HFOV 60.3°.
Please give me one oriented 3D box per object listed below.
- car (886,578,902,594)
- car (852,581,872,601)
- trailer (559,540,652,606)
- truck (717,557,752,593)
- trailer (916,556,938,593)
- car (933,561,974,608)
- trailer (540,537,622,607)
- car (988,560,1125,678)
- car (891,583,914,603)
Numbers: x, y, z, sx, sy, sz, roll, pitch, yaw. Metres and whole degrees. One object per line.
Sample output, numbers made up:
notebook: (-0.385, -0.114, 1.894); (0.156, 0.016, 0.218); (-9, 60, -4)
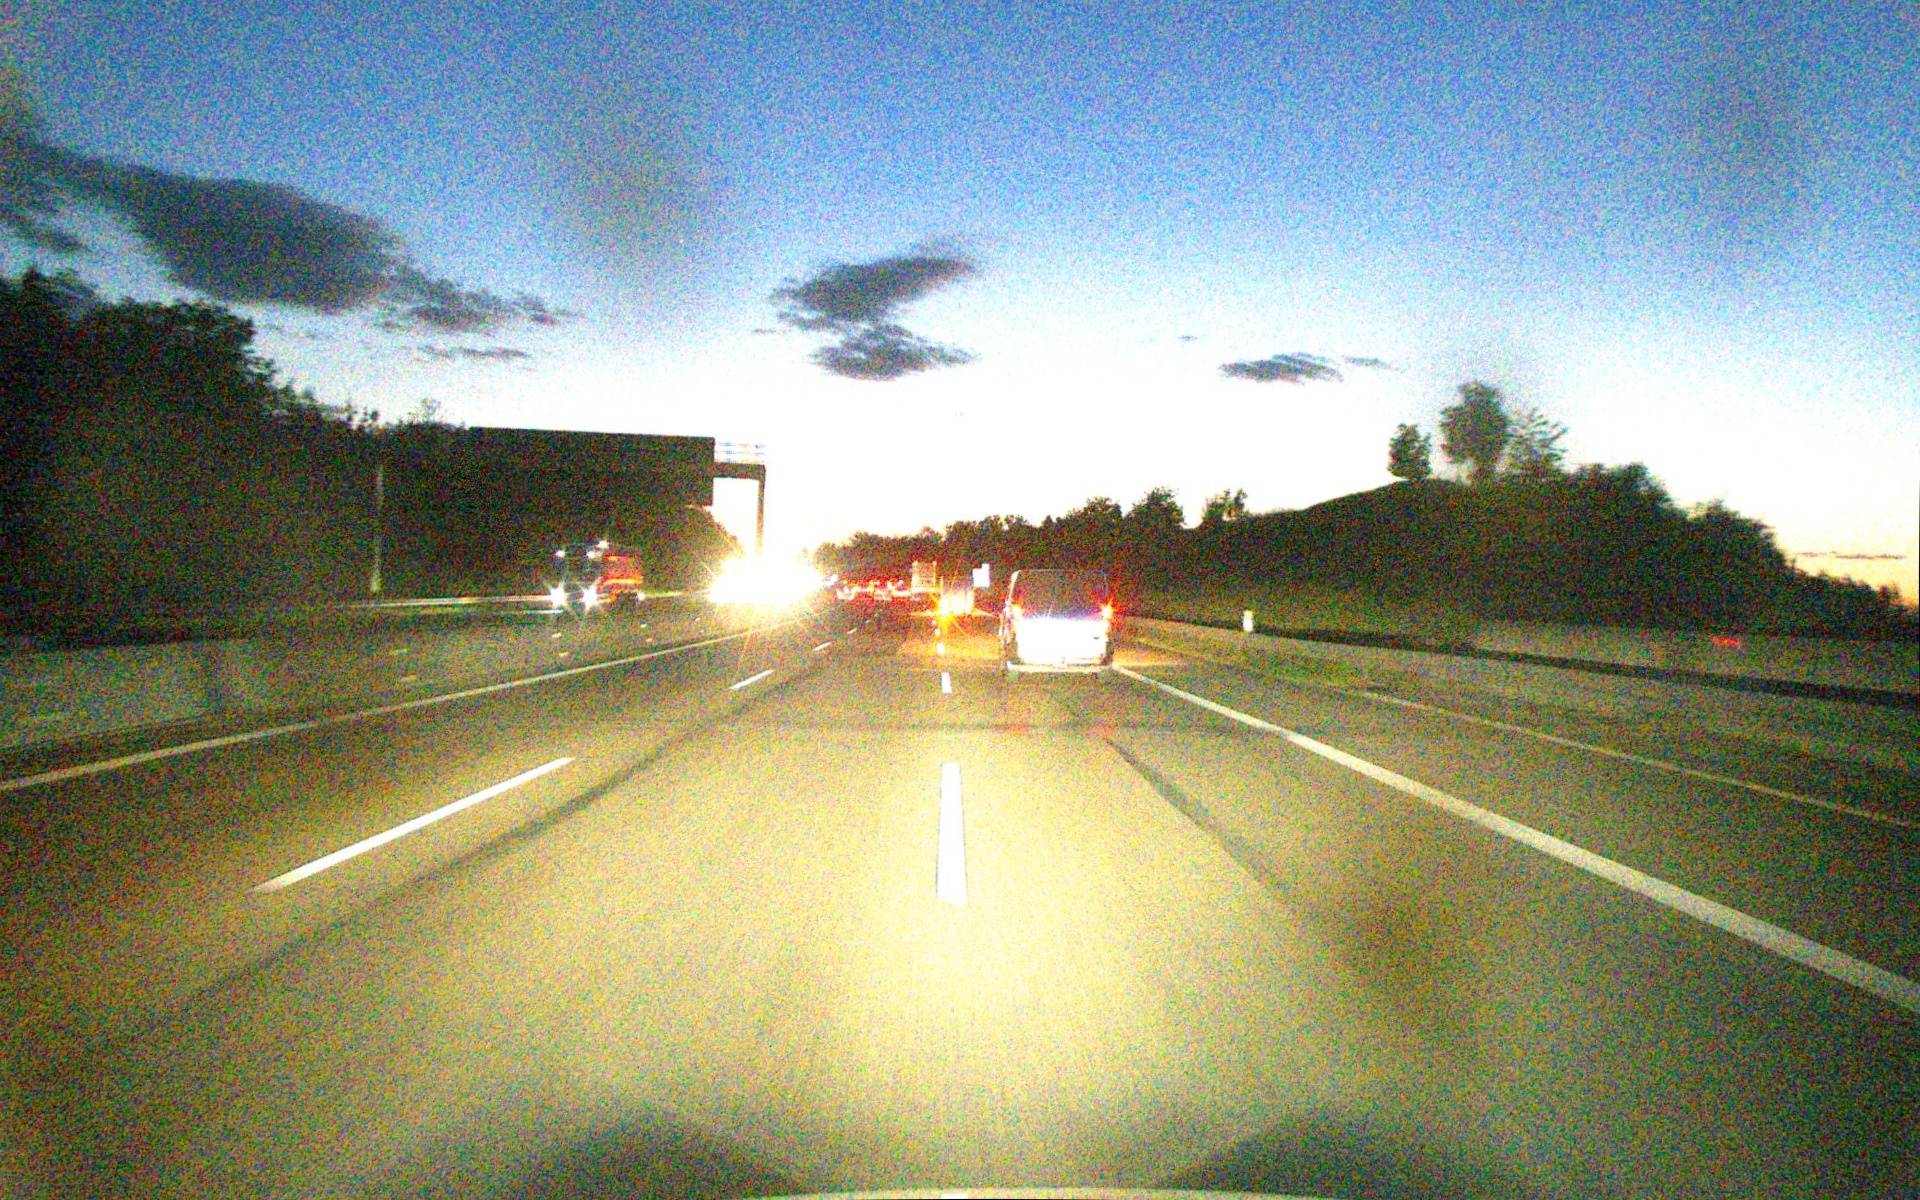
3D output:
car: (-8.192, -1.770, 206.880); (1.953, 1.825, 3.998); (1, -1, -2)
car: (-9.660, -0.842, 163.382); (1.954, 1.848, 3.997); (1, -1, -3)
trailer: (-23.210, -1.738, 109.231); (3.360, 4.050, 14.045); (1, 0, -1)
truck: (-26.090, -2.840, 191.774); (3.361, 4.050, 6.204); (1, 0, -3)
trailer: (-4.420, -3.293, 219.960); (2.772, 4.331, 17.041); (1, -1, -2)
car: (-0.419, -0.930, 98.291); (1.992, 2.693, 5.720); (1, 0, -4)
trailer: (-23.010, -1.674, 100.801); (3.361, 4.050, 7.350); (1, 0, -1)
car: (1.716, 0.309, 31.491); (2.073, 2.036, 5.662); (1, 0, -2)
car: (-5.700, -0.688, 163.758); (1.955, 1.825, 3.995); (1, -1, -6)
